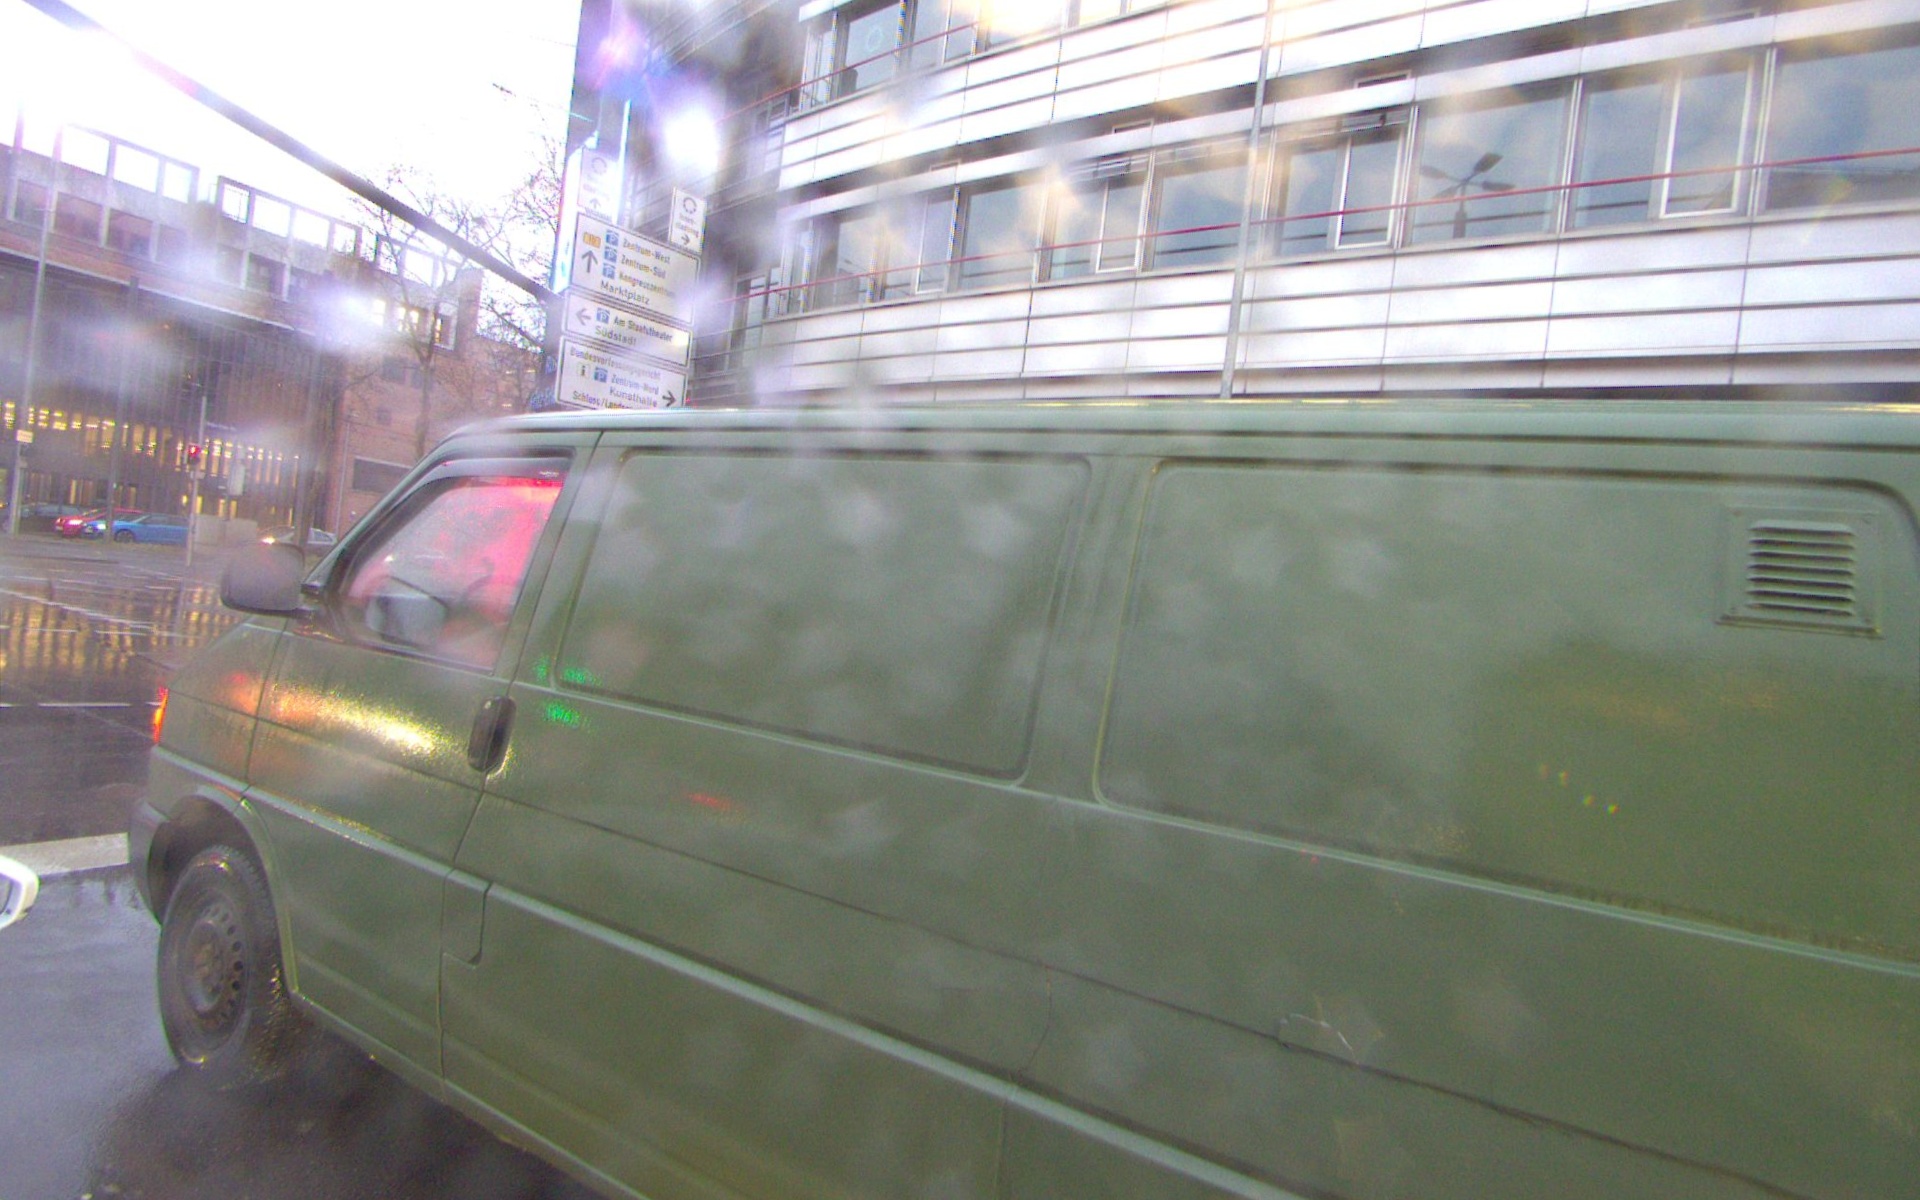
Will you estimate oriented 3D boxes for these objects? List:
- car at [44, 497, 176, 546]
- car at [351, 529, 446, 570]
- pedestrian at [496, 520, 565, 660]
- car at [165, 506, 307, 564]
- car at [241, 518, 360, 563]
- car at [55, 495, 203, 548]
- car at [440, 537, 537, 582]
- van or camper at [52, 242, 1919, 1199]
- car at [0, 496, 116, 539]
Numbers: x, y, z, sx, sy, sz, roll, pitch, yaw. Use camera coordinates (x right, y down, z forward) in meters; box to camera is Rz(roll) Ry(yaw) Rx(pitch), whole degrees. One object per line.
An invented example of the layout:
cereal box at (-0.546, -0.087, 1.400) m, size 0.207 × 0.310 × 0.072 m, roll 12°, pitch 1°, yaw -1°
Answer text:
car at (-35.467, -3.253, 42.088) m, size 1.814 × 1.278 × 3.729 m, roll 11°, pitch 1°, yaw 26°
car at (-30.153, -2.705, 54.118) m, size 1.814 × 1.523 × 3.997 m, roll 11°, pitch 1°, yaw 26°
pedestrian at (-7.024, -0.158, 16.458) m, size 0.609 × 2.210 × 0.576 m, roll 6°, pitch 0°, yaw 26°
car at (-28.287, -2.514, 39.429) m, size 1.814 × 1.523 × 3.997 m, roll 11°, pitch 1°, yaw 26°
car at (-29.620, -2.664, 45.292) m, size 1.814 × 1.304 × 3.997 m, roll 11°, pitch 1°, yaw 26°
car at (-32.424, -3.037, 39.370) m, size 1.814 × 1.278 × 3.997 m, roll 11°, pitch 1°, yaw 26°
car at (-23.548, -1.987, 50.395) m, size 1.814 × 1.621 × 3.997 m, roll 11°, pitch 1°, yaw 26°
van or camper at (-0.311, 0.535, 2.618) m, size 4.345 × 1.929 × 1.760 m, roll 7°, pitch -1°, yaw 32°
car at (-39.194, -3.568, 43.195) m, size 1.965 × 1.326 × 3.994 m, roll 7°, pitch 0°, yaw 28°
